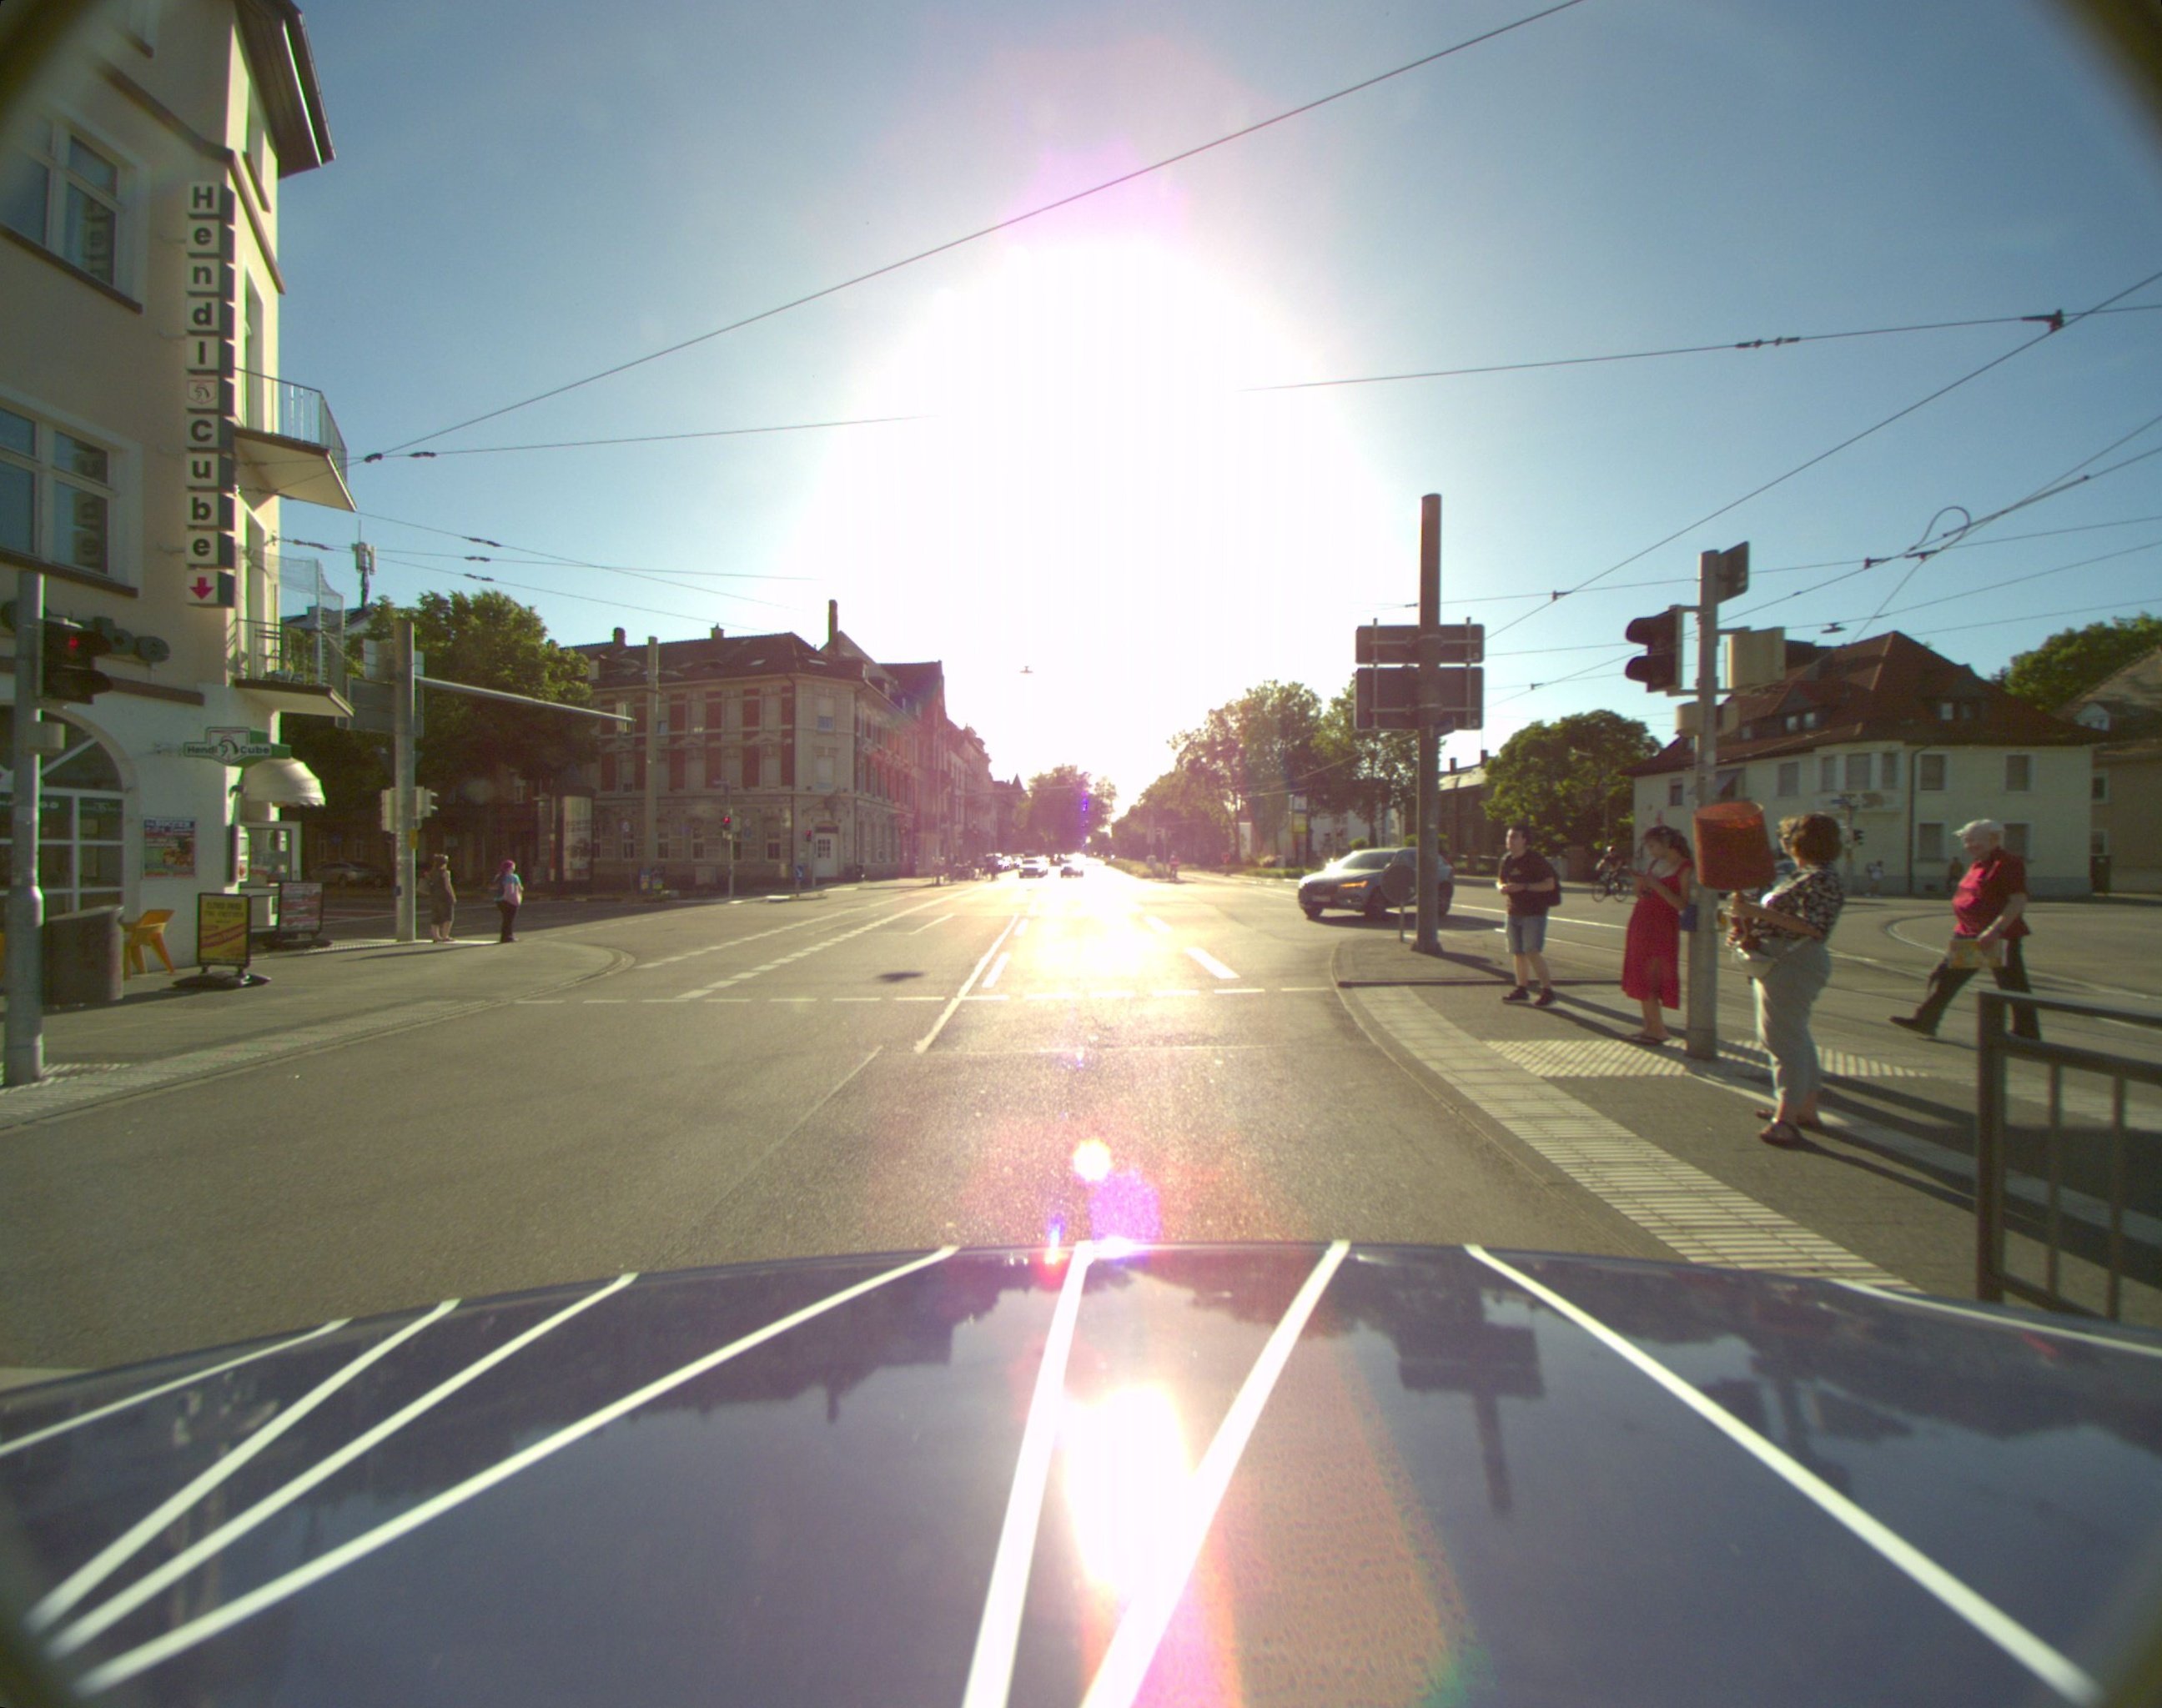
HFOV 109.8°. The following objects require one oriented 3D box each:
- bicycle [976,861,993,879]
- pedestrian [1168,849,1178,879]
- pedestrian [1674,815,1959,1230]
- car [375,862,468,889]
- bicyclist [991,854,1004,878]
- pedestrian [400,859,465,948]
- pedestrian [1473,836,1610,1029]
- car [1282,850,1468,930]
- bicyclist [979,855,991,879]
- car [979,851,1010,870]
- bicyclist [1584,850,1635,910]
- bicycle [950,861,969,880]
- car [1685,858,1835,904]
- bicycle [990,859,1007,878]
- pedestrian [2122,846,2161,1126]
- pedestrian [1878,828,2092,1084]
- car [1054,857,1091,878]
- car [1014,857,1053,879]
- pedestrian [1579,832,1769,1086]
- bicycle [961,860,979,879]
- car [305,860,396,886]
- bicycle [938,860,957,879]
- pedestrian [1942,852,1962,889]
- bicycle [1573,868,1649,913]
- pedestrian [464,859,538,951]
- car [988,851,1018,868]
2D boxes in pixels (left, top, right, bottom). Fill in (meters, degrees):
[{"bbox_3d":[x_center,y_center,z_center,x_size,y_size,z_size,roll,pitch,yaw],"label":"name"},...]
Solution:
[{"bbox_3d":[-6.731,1.107,53.141,0.693,1.208,2.299,0,0,5],"label":"bicycle"},{"bbox_3d":[5.548,0.603,45.716,0.581,1.824,0.559,0,1,9],"label":"pedestrian"},{"bbox_3d":[3.526,0.739,3.723,0.637,1.817,0.776,0,1,3],"label":"pedestrian"},{"bbox_3d":[-37.610,1.195,43.363,4.263,1.483,2.002,0,0,17],"label":"car"},{"bbox_3d":[-5.646,0.817,51.452,0.696,1.596,0.745,0,1,4],"label":"bicyclist"},{"bbox_3d":[-12.512,0.941,14.676,0.663,1.680,0.677,0,1,-1],"label":"pedestrian"},{"bbox_3d":[4.214,0.685,7.021,0.799,1.680,0.776,0,1,3],"label":"pedestrian"},{"bbox_3d":[7.199,0.774,18.445,4.628,1.660,1.976,-1,1,-36],"label":"car"},{"bbox_3d":[-6.733,0.901,53.105,0.696,1.596,0.745,0,1,4],"label":"bicyclist"},{"bbox_3d":[-8.305,0.606,73.106,2.295,1.716,4.594,0,0,2],"label":"car"},{"bbox_3d":[17.111,0.812,24.614,1.005,1.872,0.991,0,1,-27],"label":"bicyclist"},{"bbox_3d":[-8.160,1.081,51.054,0.693,1.208,2.299,0,0,5],"label":"bicycle"},{"bbox_3d":[25.054,0.944,28.093,4.274,1.594,1.998,0,0,-12],"label":"car"},{"bbox_3d":[-5.557,0.981,51.199,0.693,1.208,2.299,0,0,5],"label":"bicycle"},{"bbox_3d":[6.868,0.795,4.204,0.803,1.680,1.008,0,1,3],"label":"pedestrian"},{"bbox_3d":[6.864,0.725,5.820,0.651,1.821,0.808,0,1,3],"label":"pedestrian"},{"bbox_3d":[-0.582,0.975,56.183,2.294,1.391,4.595,0,0,5],"label":"car"},{"bbox_3d":[-3.485,1.007,56.509,2.294,1.566,4.595,0,0,5],"label":"car"},{"bbox_3d":[4.189,0.695,5.433,0.743,1.680,0.776,0,1,3],"label":"pedestrian"},{"bbox_3d":[-7.432,1.051,50.804,0.693,1.208,2.299,0,0,5],"label":"bicycle"},{"bbox_3d":[-43.239,1.086,44.980,4.264,1.483,2.002,0,0,16],"label":"car"},{"bbox_3d":[-8.965,1.027,51.138,0.693,1.208,2.299,0,0,5],"label":"bicycle"},{"bbox_3d":[40.893,0.788,35.673,0.417,1.733,0.409,0,1,-1],"label":"pedestrian"},{"bbox_3d":[17.229,1.161,24.692,2.383,1.349,1.020,0,1,-27],"label":"bicycle"},{"bbox_3d":[-10.951,0.954,14.367,0.775,1.680,0.800,-1,-1,-1],"label":"pedestrian"},{"bbox_3d":[-8.113,0.526,79.325,2.294,1.716,4.596,0,0,5],"label":"car"}]
